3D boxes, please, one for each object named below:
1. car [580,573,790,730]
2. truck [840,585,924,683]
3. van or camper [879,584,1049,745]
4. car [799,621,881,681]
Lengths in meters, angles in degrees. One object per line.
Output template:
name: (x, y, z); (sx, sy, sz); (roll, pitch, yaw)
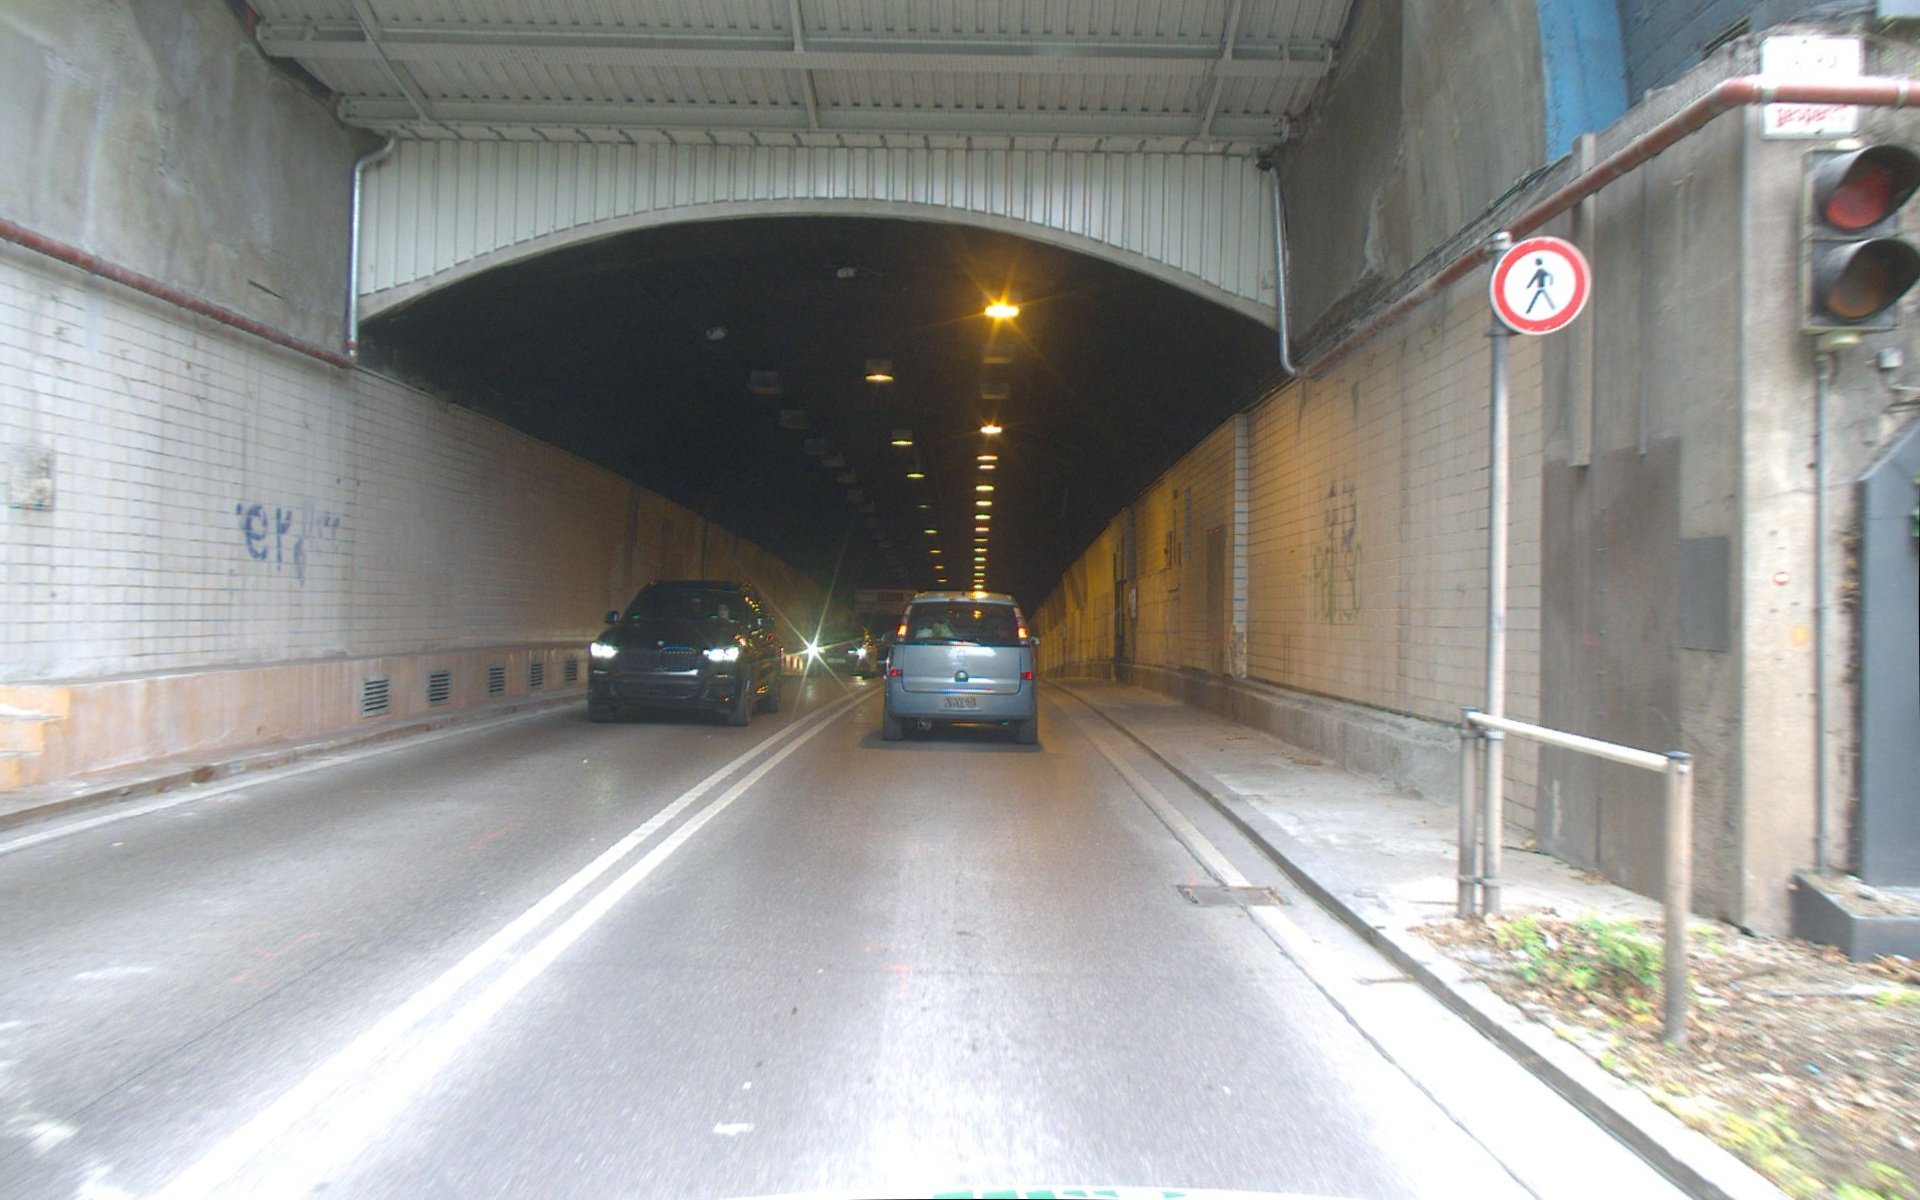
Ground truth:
car: (-3.265, 0.588, 20.466); (1.840, 1.705, 4.376); (1, -1, 0)
truck: (-3.187, 1.528, 69.295); (2.755, 3.782, 7.546); (1, -3, 3)
van or camper: (0.012, 0.681, 18.689); (1.700, 1.605, 3.645); (1, -1, -1)
car: (-3.236, 1.401, 45.222); (1.854, 1.495, 4.160); (2, -2, 1)
